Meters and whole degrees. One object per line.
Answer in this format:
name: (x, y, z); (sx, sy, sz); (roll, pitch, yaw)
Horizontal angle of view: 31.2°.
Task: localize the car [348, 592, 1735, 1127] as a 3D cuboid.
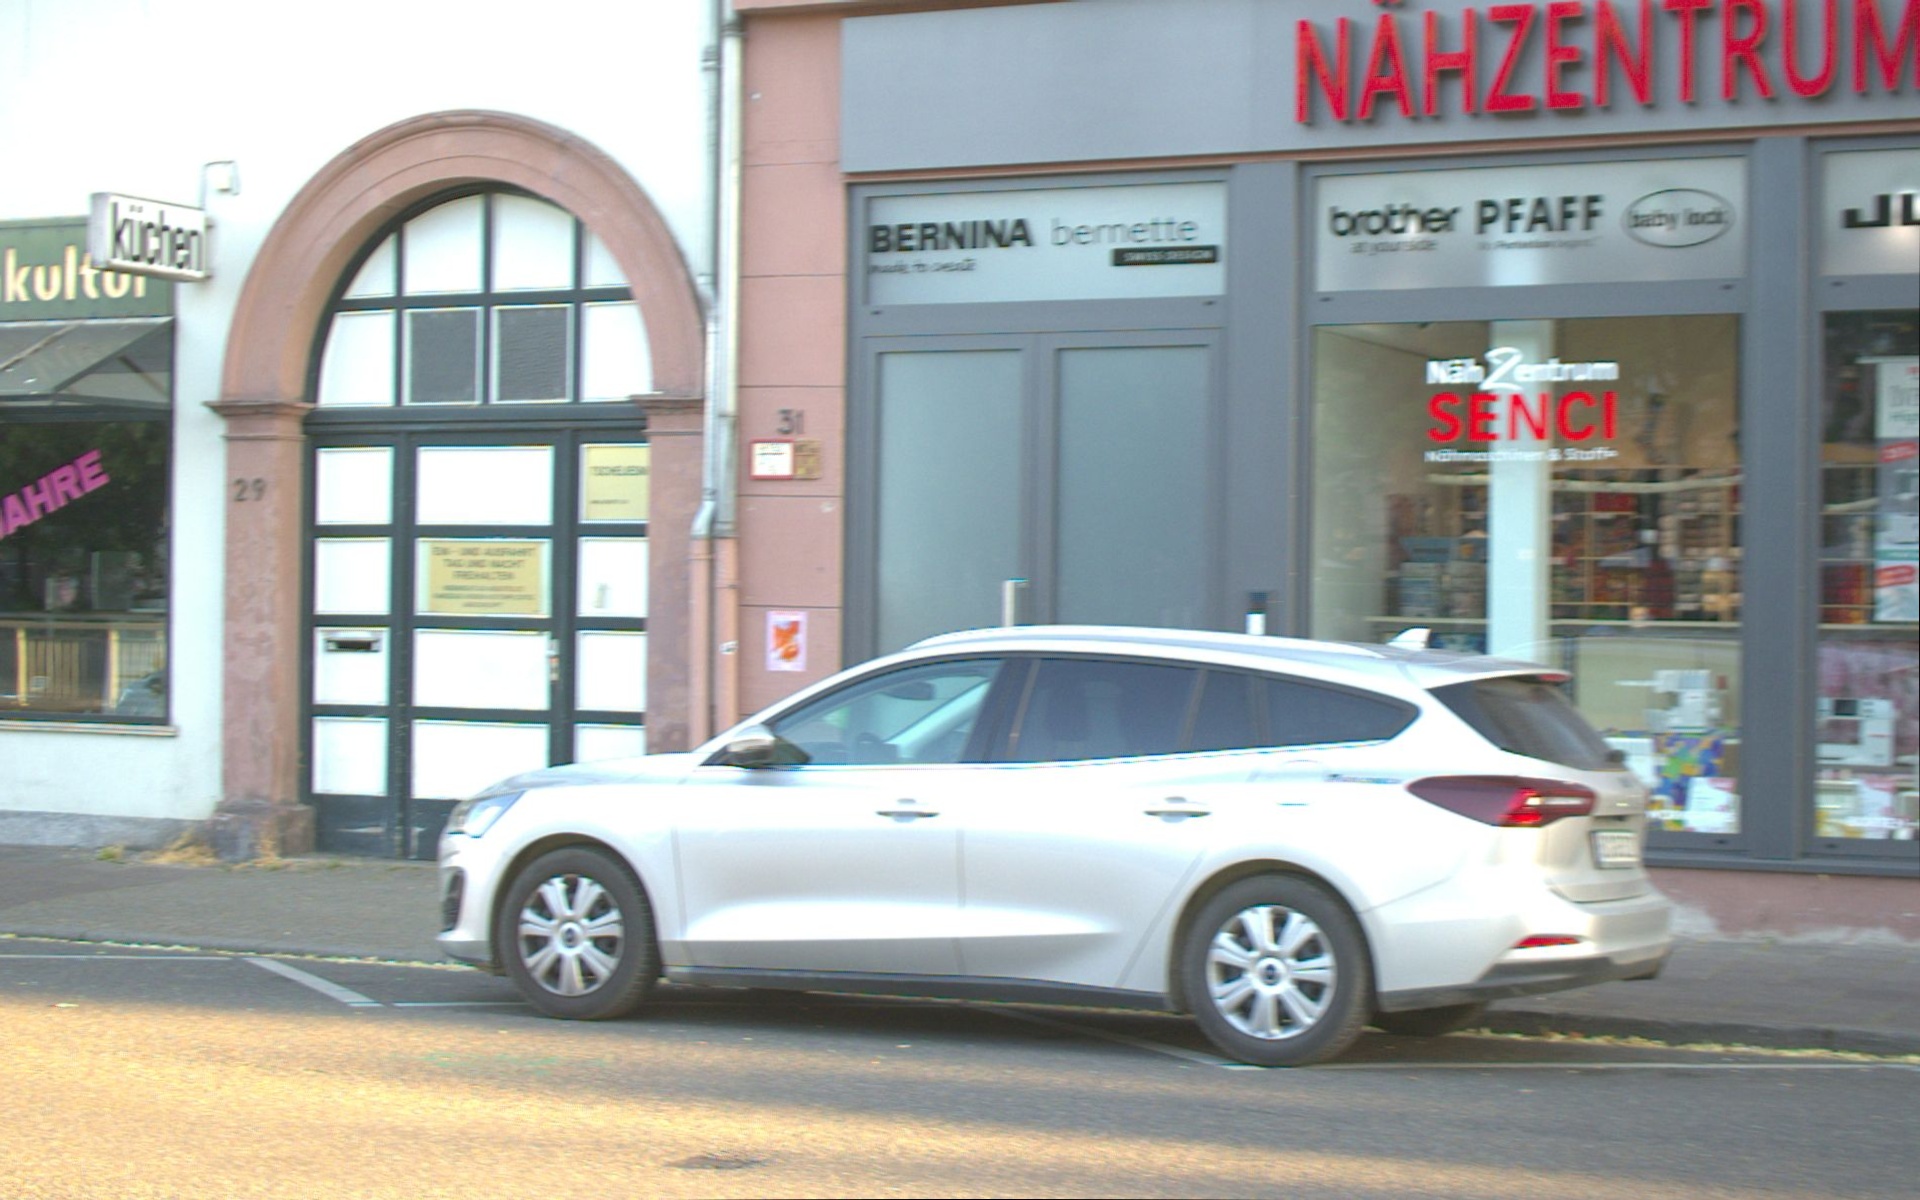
car: (0.286, 0.825, 12.709); (4.673, 1.530, 1.997); (2, 0, 25)
